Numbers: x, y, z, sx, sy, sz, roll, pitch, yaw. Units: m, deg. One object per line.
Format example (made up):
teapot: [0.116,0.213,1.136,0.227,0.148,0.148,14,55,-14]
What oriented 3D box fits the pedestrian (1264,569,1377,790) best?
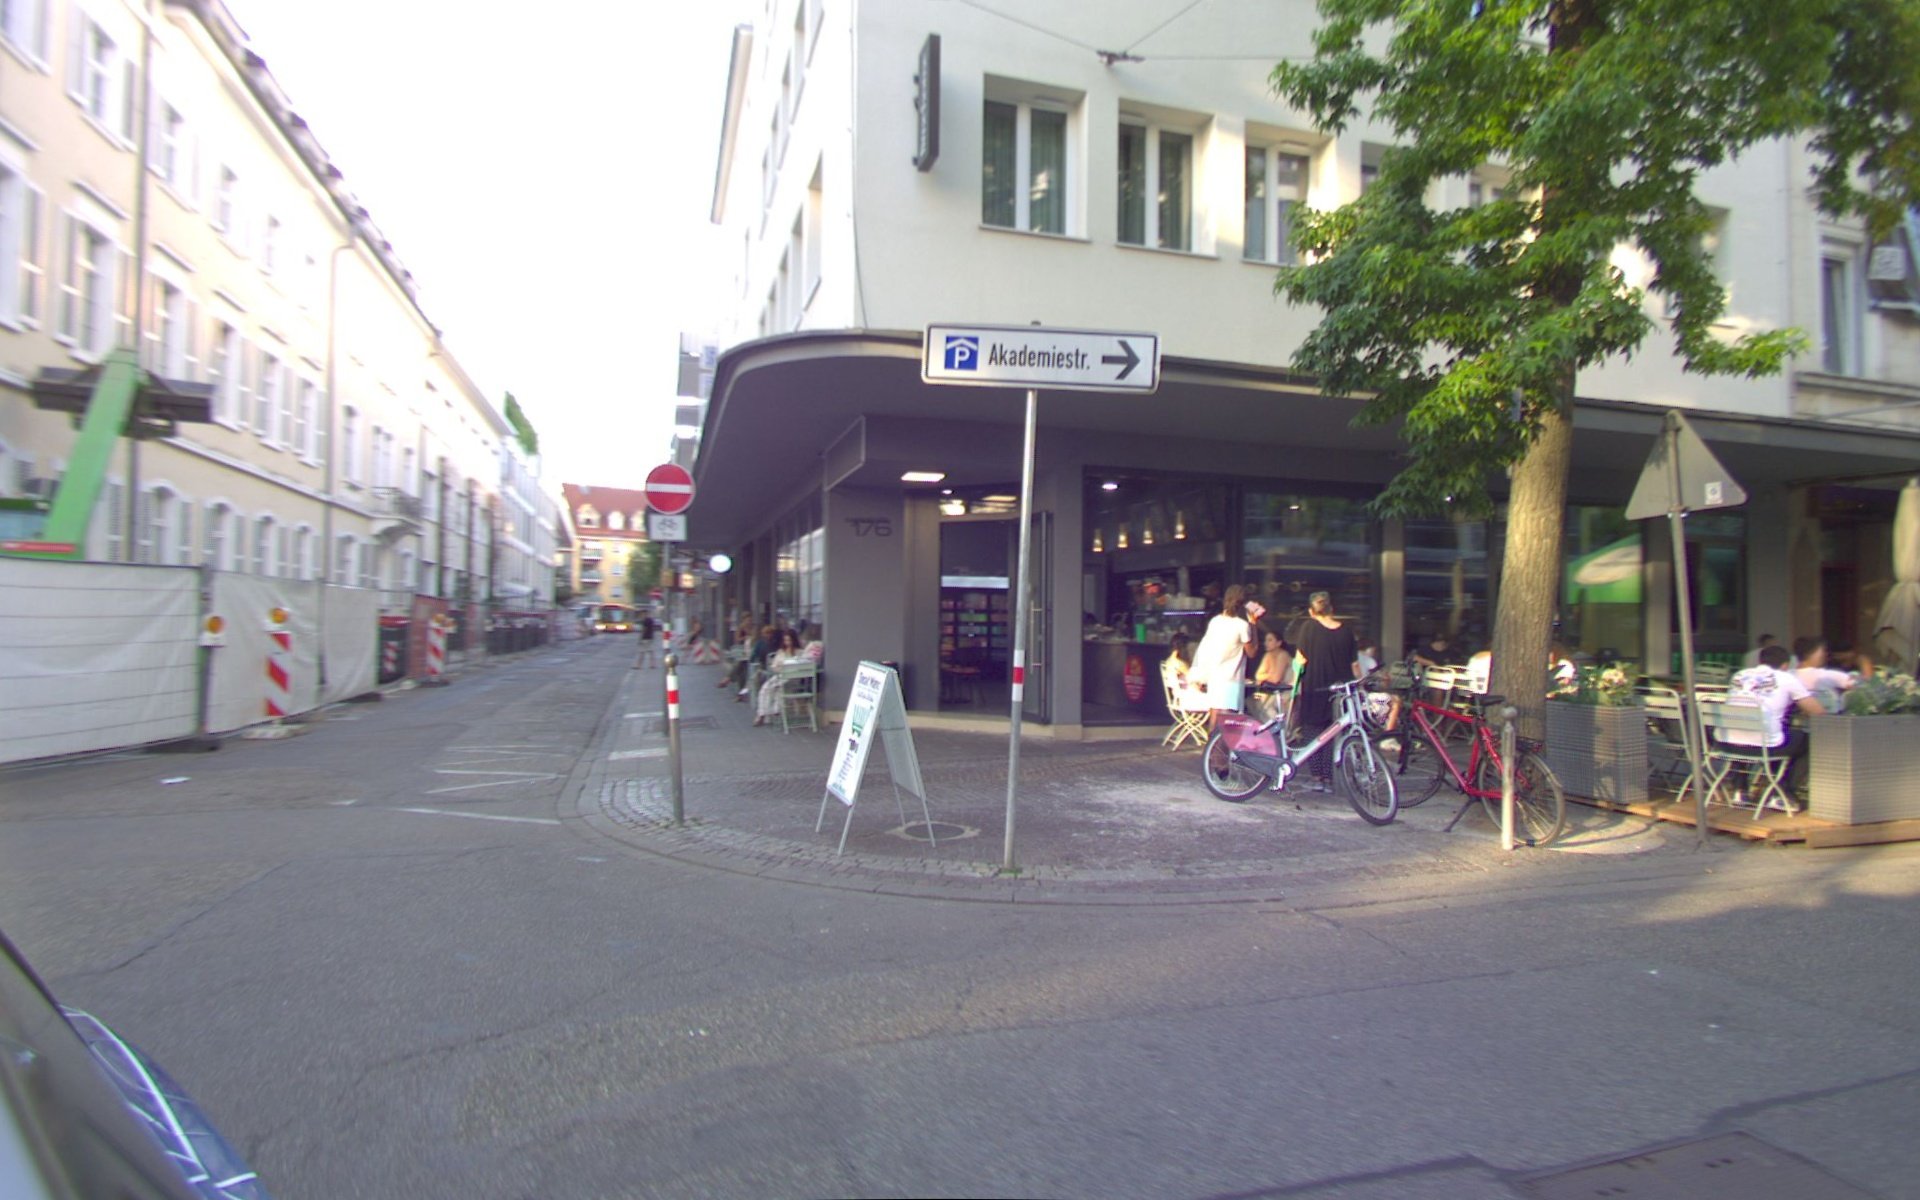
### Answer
pedestrian: [3.028,0.632,8.491,0.778,1.754,0.635,1,-1,31]

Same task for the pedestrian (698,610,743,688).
pedestrian: [-5.002,1.022,21.109,0.649,1.581,0.639,0,-2,-43]

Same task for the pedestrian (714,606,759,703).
pedestrian: [-3.707,0.898,16.836,0.695,1.559,0.863,0,-2,-10]

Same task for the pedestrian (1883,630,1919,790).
pedestrian: [8.694,0.956,8.737,0.857,1.372,0.720,1,-1,-16]

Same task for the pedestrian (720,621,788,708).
pedestrian: [-3.227,0.988,15.820,0.695,1.296,0.862,1,-2,-41]

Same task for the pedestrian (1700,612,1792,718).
pedestrian: [10.666,0.869,13.744,0.752,1.389,0.658,1,-1,-17]

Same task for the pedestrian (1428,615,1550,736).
pedestrian: [6.140,0.853,11.774,0.867,1.330,0.890,1,-1,-14]

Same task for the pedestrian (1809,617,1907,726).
pedestrian: [11.793,0.925,13.298,0.752,1.389,0.658,1,-1,-17]

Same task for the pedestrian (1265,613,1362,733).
pedestrian: [4.075,0.824,11.683,0.827,1.330,0.626,1,-1,-14]

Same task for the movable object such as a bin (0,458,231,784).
movable object such as a bin: [-10.610,0.234,11.202,2.598,2.894,5.582,1,-2,-20]

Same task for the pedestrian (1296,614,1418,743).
pedestrian: [4.316,0.828,11.045,0.867,1.330,0.890,1,-1,-14]

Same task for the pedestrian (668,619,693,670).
pedestrian: [-8.942,1.418,32.398,0.698,1.590,0.615,-1,-1,-20]

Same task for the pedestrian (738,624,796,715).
pedestrian: [-2.733,0.961,14.301,0.694,1.204,0.693,-3,-1,-14]

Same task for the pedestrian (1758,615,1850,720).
pedestrian: [11.644,0.917,13.974,0.752,1.389,0.658,1,-1,-17]

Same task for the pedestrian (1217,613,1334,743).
pedestrian: [3.378,0.820,10.902,0.867,1.330,0.852,1,-1,-14]

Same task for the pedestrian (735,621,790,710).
pedestrian: [-2.967,0.968,15.137,0.694,1.249,0.780,-3,-1,-14]

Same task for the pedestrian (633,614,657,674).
pedestrian: [-9.522,1.317,30.579,0.694,1.795,0.935,0,-2,-18]

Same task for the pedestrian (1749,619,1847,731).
pedestrian: [10.809,0.946,13.062,0.752,1.389,0.658,1,-1,-17]

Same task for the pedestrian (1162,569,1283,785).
pedestrian: [2.260,0.628,8.712,0.781,1.754,0.633,0,-1,42]

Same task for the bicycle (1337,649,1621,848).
bicycle: [3.596,0.964,7.219,0.616,1.148,1.873,1,-1,-20]

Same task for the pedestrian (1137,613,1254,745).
pedestrian: [2.485,0.809,10.754,0.867,1.330,0.890,1,-1,-14]

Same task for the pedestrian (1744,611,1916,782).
pedestrian: [7.376,0.783,8.605,0.909,1.372,0.720,1,-1,-16]

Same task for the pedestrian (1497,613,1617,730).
pedestrian: [7.059,0.823,11.995,0.867,1.330,0.852,1,-1,-14]

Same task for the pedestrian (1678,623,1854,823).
pedestrian: [5.973,0.874,7.526,0.779,1.388,0.697,1,-1,-16]

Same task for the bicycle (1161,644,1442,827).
bicycle: [2.540,0.943,7.681,1.868,1.148,0.769,0,-1,45]

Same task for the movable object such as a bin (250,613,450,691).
movable object such as a bin: [-15.156,1.287,25.793,2.850,1.677,7.316,1,-3,-19]

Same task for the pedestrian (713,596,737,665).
pedestrian: [-6.281,0.818,27.048,0.536,1.824,0.615,2,-2,-18]

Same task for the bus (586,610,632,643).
bus: [-37.800,2.745,109.388,3.858,3.350,12.570,1,-1,-16]

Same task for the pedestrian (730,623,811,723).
pedestrian: [-2.427,0.915,13.035,0.701,1.228,0.836,-1,-2,20]
